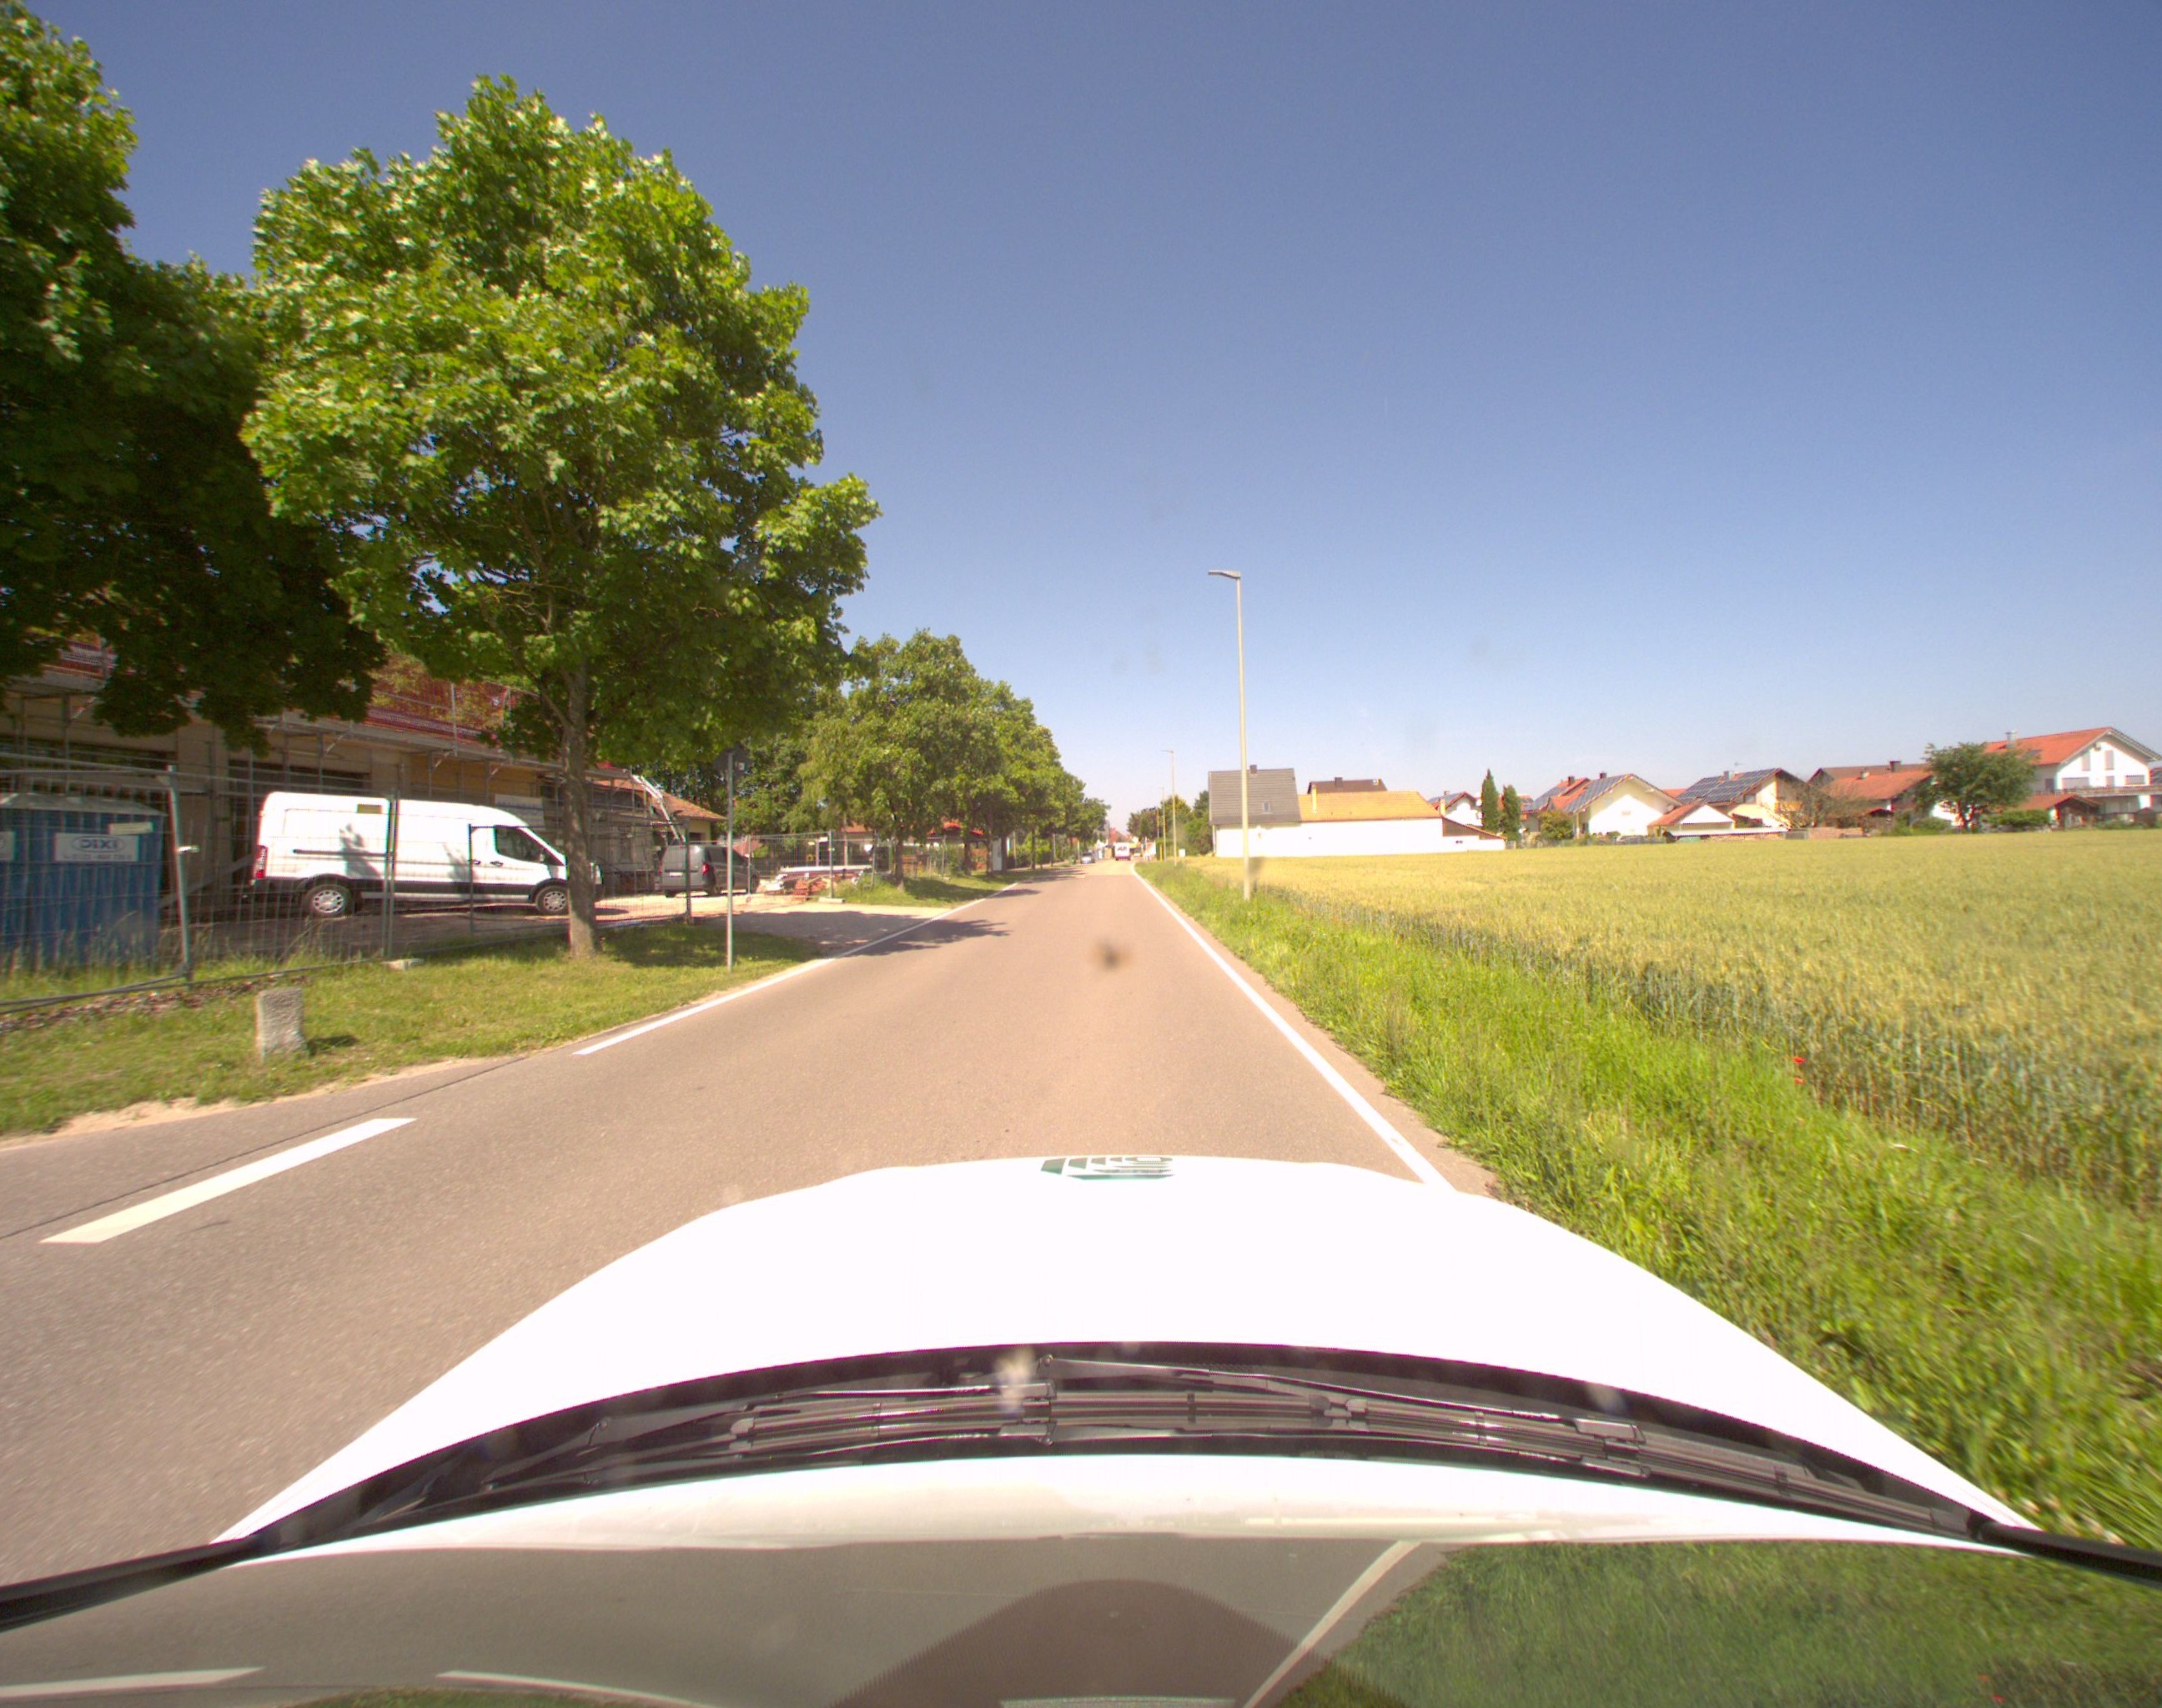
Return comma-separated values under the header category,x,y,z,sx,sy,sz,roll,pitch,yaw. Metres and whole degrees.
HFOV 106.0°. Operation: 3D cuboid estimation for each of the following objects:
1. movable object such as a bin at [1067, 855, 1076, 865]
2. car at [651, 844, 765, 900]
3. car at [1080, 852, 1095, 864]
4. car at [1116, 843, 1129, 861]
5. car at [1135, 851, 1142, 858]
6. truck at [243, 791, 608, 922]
category,x,y,z,sx,sy,sz,roll,pitch,yaw
movable object such as a bin,-1.142,0.718,97.174,0.706,1.079,0.644,-2,0,29
car,-13.231,0.586,29.231,1.963,1.838,4.330,-1,0,2
car,0.796,0.483,102.498,1.641,1.423,4.082,-4,0,2
car,5.924,-0.347,115.470,1.730,2.432,4.378,-2,0,3
car,14.851,0.158,211.110,1.660,1.524,3.443,-3,0,1
truck,-13.983,0.012,17.962,5.957,2.483,1.978,-1,-1,-35
